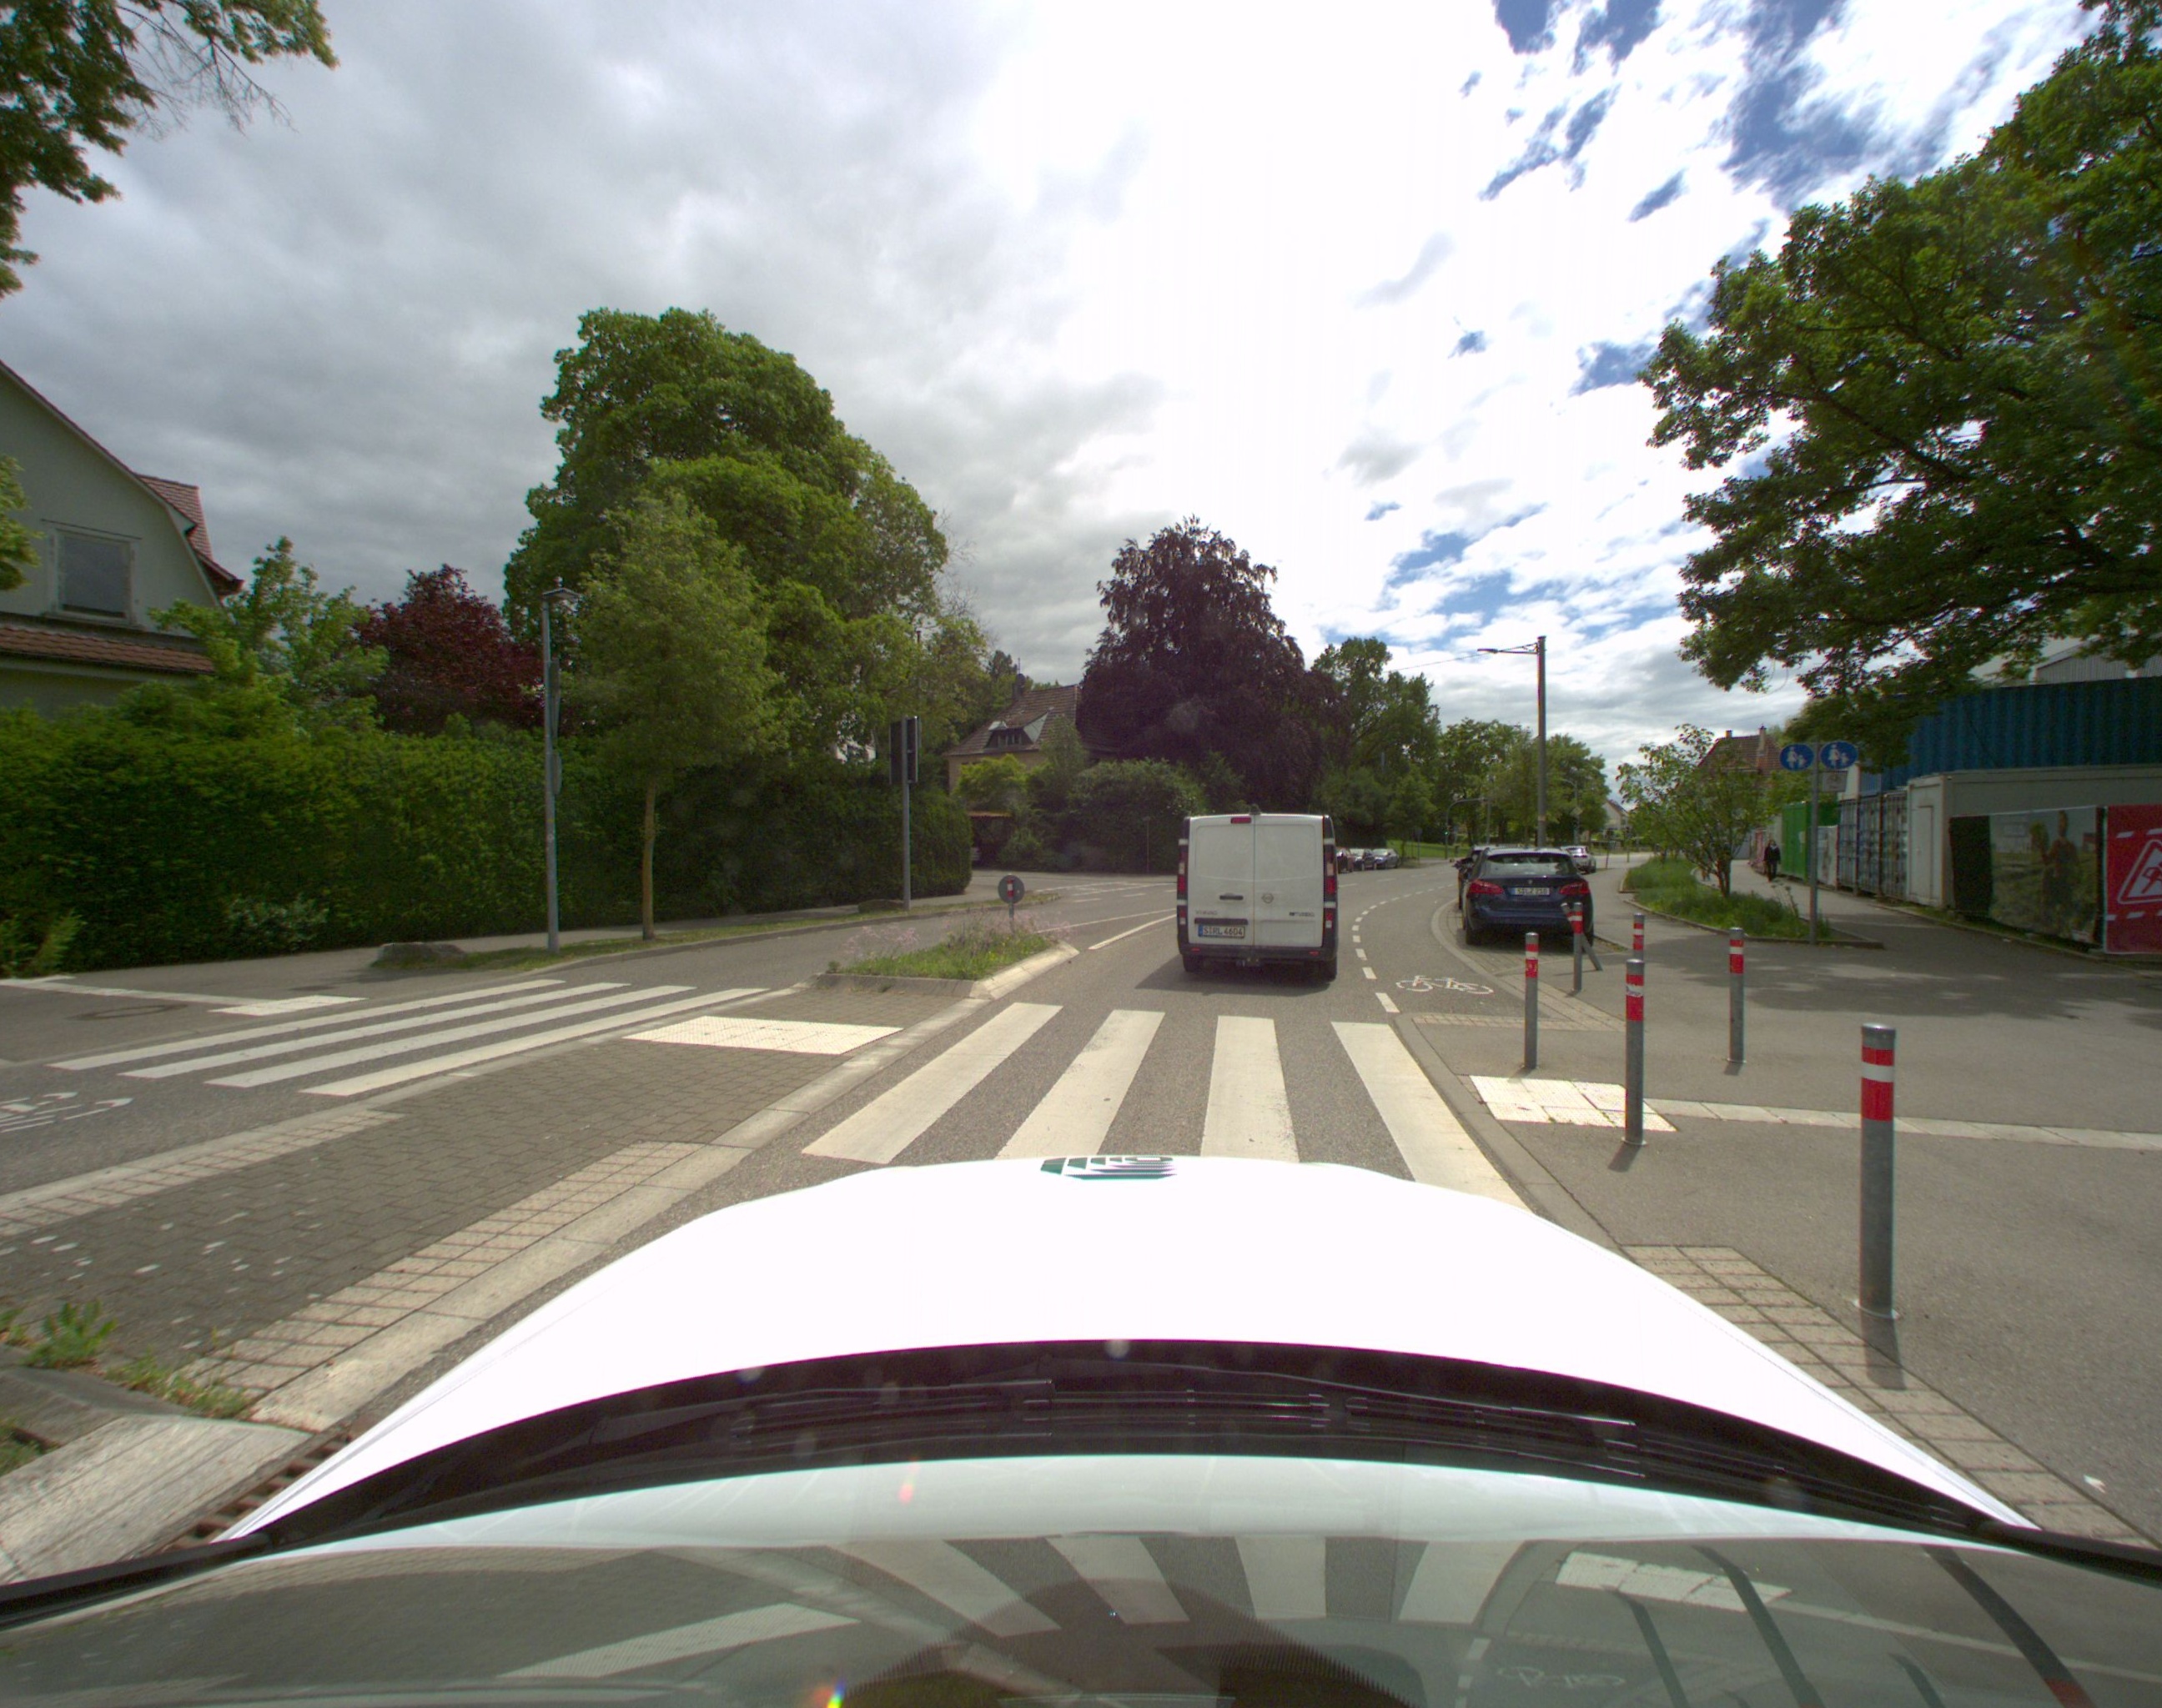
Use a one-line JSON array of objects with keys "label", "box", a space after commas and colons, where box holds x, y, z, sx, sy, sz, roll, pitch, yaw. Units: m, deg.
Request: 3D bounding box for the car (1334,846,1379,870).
[{"label": "car", "box": [17.407, 0.227, 51.320, 1.580, 1.450, 3.619, 2, 1, 37]}]

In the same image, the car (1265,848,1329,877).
[{"label": "car", "box": [11.456, 0.403, 42.984, 1.644, 1.378, 4.595, 2, 1, 36]}]

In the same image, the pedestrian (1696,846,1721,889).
[{"label": "pedestrian", "box": [25.436, 0.533, 33.011, 0.644, 1.696, 0.729, 1, 0, 25]}]

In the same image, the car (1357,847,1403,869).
[{"label": "car", "box": [20.132, 0.213, 54.696, 1.679, 1.365, 4.716, 3, 2, 36]}]

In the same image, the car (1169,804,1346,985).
[{"label": "car", "box": [2.652, 0.405, 11.395, 1.923, 1.960, 4.855, 0, 1, 17]}]

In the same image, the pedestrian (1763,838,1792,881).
[{"label": "pedestrian", "box": [26.839, 0.201, 31.382, 0.735, 1.618, 0.772, 1, 0, 34]}]

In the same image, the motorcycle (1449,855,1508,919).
[{"label": "motorcycle", "box": [8.889, 0.706, 18.309, 1.061, 1.305, 2.273, -2, -1, 24]}]

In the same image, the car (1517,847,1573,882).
[{"label": "car", "box": [21.153, 0.449, 37.030, 1.747, 1.477, 4.967, -3, -1, 34]}]

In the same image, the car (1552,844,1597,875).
[{"label": "car", "box": [27.636, 0.288, 45.567, 1.720, 1.616, 4.414, -2, -1, 36]}]

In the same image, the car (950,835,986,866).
[{"label": "car", "box": [-5.838, -0.232, 42.481, 1.721, 1.509, 3.992, 1, 1, -7]}]

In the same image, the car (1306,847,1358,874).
[{"label": "car", "box": [14.628, 0.335, 47.280, 1.634, 1.450, 4.131, 2, 1, 36]}]

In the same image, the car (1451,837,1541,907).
[{"label": "car", "box": [10.922, 0.412, 21.543, 1.861, 1.621, 4.875, -1, 0, 26]}]

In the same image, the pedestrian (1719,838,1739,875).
[{"label": "pedestrian", "box": [29.829, 0.119, 37.484, 0.645, 1.697, 0.850, 1, 0, 34]}]

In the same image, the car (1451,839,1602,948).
[{"label": "car", "box": [7.509, 0.573, 14.137, 1.899, 1.578, 4.454, -1, 0, 24]}]
